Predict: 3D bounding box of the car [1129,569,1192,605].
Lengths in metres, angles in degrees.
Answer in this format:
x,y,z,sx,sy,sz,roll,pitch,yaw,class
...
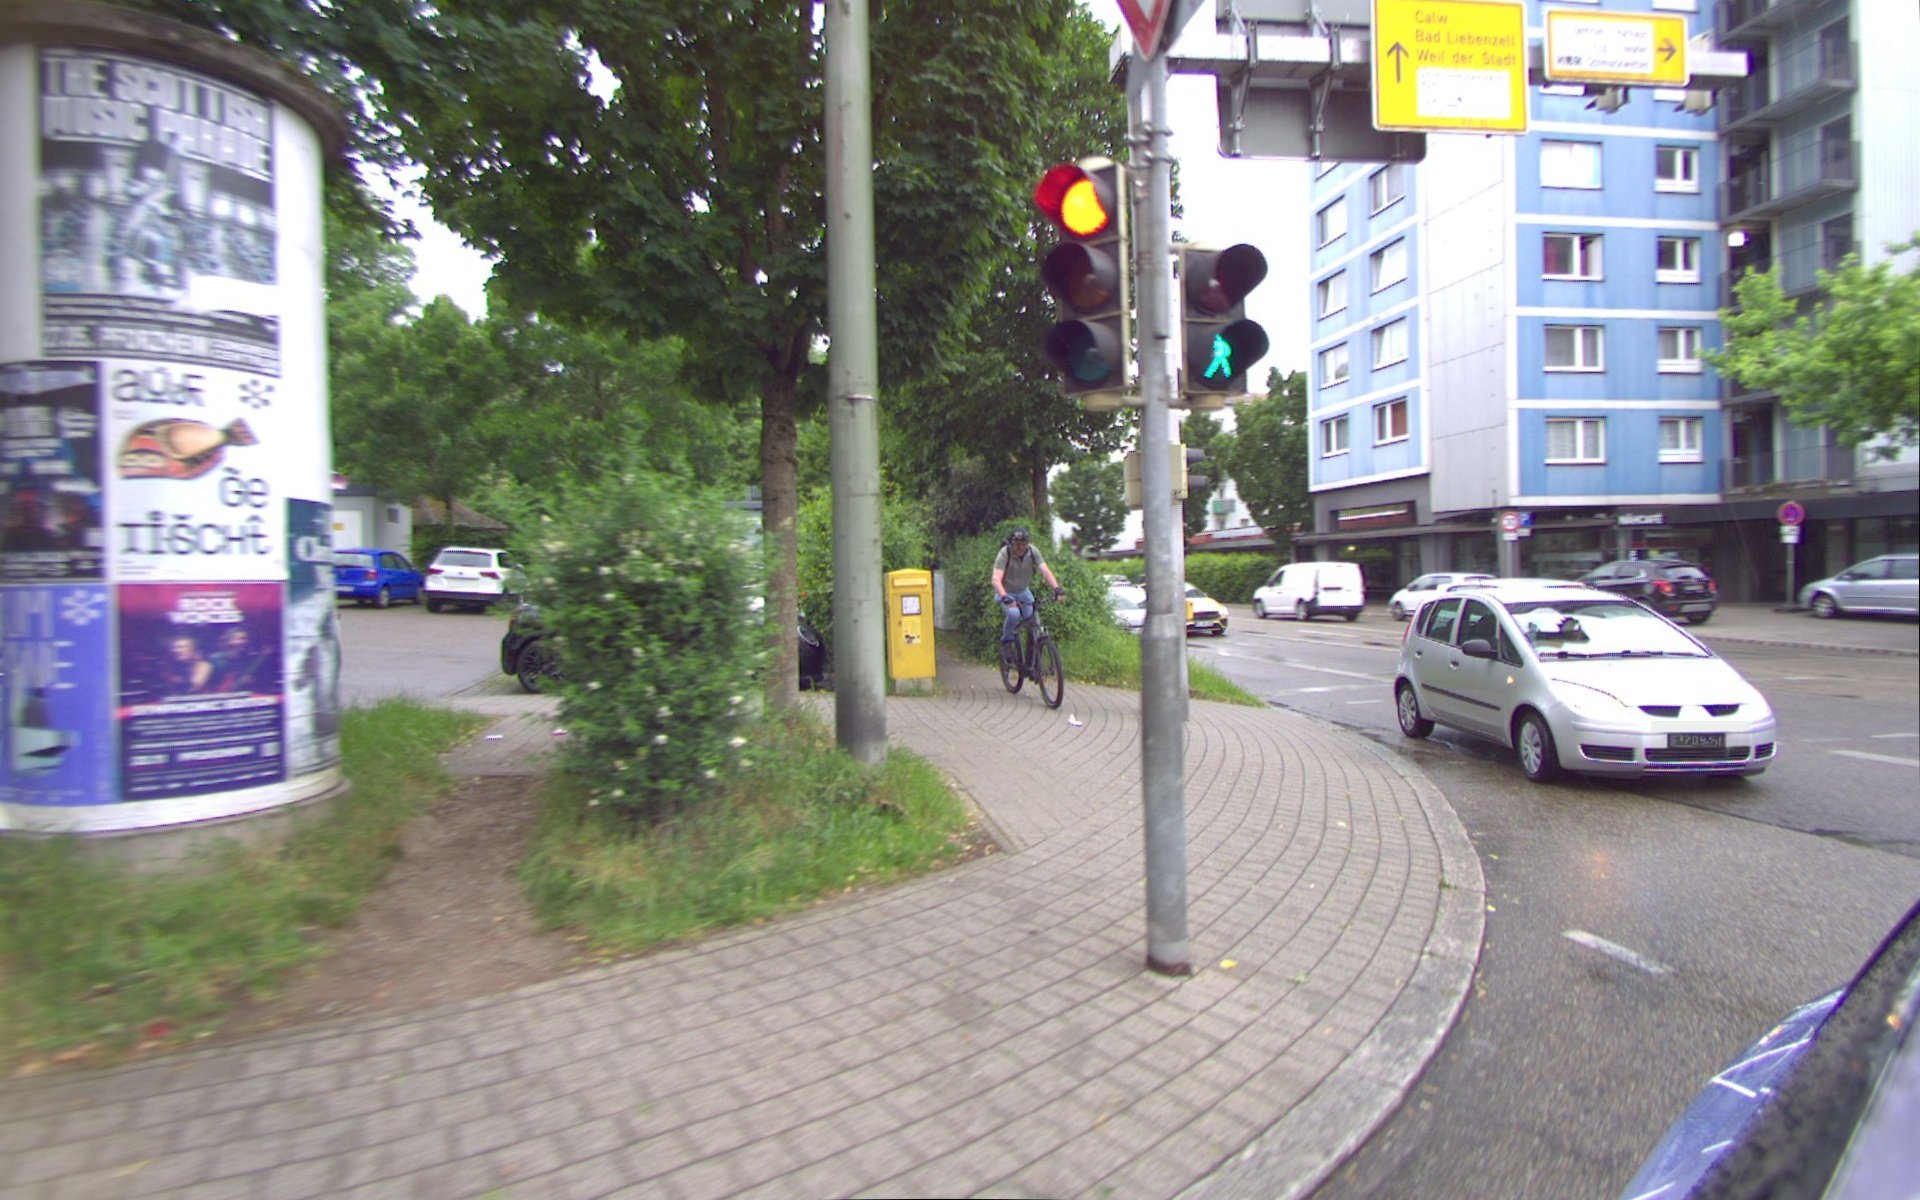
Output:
x,y,z,sx,sy,sz,roll,pitch,yaw,class
8.939,-0.615,45.356,1.583,1.554,3.459,-1,2,-10,car

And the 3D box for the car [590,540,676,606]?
x,y,z,sx,sy,sz,roll,pitch,yaw,class
-8.739,-0.748,27.326,1.762,1.630,4.009,1,2,-11,car

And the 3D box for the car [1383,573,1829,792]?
x,y,z,sx,sy,sz,roll,pitch,yaw,class
5.443,0.578,9.203,1.657,1.523,3.836,-2,0,3,car

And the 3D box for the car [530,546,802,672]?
x,y,z,sx,sy,sz,roll,pitch,yaw,class
-4.193,0.119,14.895,3.626,1.718,1.640,1,1,-7,car

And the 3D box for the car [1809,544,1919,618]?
x,y,z,sx,sy,sz,roll,pitch,yaw,class
23.357,-0.487,24.522,1.617,1.685,4.196,-2,4,-10,car

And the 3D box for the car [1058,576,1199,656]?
x,y,z,sx,sy,sz,roll,pitch,yaw,class
3.727,0.293,23.211,1.653,1.523,4.510,-4,2,-11,car

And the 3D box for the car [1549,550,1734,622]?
x,y,z,sx,sy,sz,roll,pitch,yaw,class
18.070,-0.442,27.103,1.617,1.685,4.196,-2,4,-10,car

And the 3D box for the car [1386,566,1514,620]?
x,y,z,sx,sy,sz,roll,pitch,yaw,class
14.416,-0.237,29.979,1.672,1.502,3.449,0,2,-11,car

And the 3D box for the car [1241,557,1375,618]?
x,y,z,sx,sy,sz,roll,pitch,yaw,class
10.922,-0.443,32.235,1.721,1.789,5.125,0,2,-11,car

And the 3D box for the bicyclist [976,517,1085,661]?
x,y,z,sx,sy,sz,roll,pitch,yaw,class
0.766,-0.126,11.222,0.870,1.508,0.971,1,1,-19,bicyclist

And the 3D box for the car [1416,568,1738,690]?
x,y,z,sx,sy,sz,roll,pitch,yaw,class
8.526,0.291,14.464,1.653,1.442,4.045,-1,2,-10,car

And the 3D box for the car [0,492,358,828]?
x,y,z,sx,sy,sz,roll,pitch,yaw,class
-5.703,0.230,6.870,1.603,1.642,4.221,2,1,-14,car

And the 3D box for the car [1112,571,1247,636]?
x,y,z,sx,sy,sz,roll,pitch,yaw,class
5.946,0.022,28.013,1.951,1.458,4.591,-4,3,-10,car

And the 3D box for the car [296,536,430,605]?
x,y,z,sx,sy,sz,roll,pitch,yaw,class
-15.244,-0.769,26.071,1.762,1.630,4.009,1,2,-11,car

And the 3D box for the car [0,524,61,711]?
x,y,z,sx,sy,sz,roll,pitch,yaw,class
-8.121,0.150,6.590,1.603,1.501,4.221,2,1,-14,car

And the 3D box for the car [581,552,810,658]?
x,y,z,sx,sy,sz,roll,pitch,yaw,class
-4.451,0.077,17.461,3.626,1.718,1.640,1,1,-7,car

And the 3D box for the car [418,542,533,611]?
x,y,z,sx,sy,sz,roll,pitch,yaw,class
-12.497,-0.643,26.347,1.762,1.630,4.009,1,2,-11,car

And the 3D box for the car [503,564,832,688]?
x,y,z,sx,sy,sz,roll,pitch,yaw,class
-3.465,0.287,12.418,3.625,1.382,1.640,0,1,-11,car

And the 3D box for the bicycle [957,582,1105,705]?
x,y,z,sx,sy,sz,roll,pitch,yaw,class
0.727,0.424,11.288,0.870,1.202,2.138,1,2,-19,bicycle
